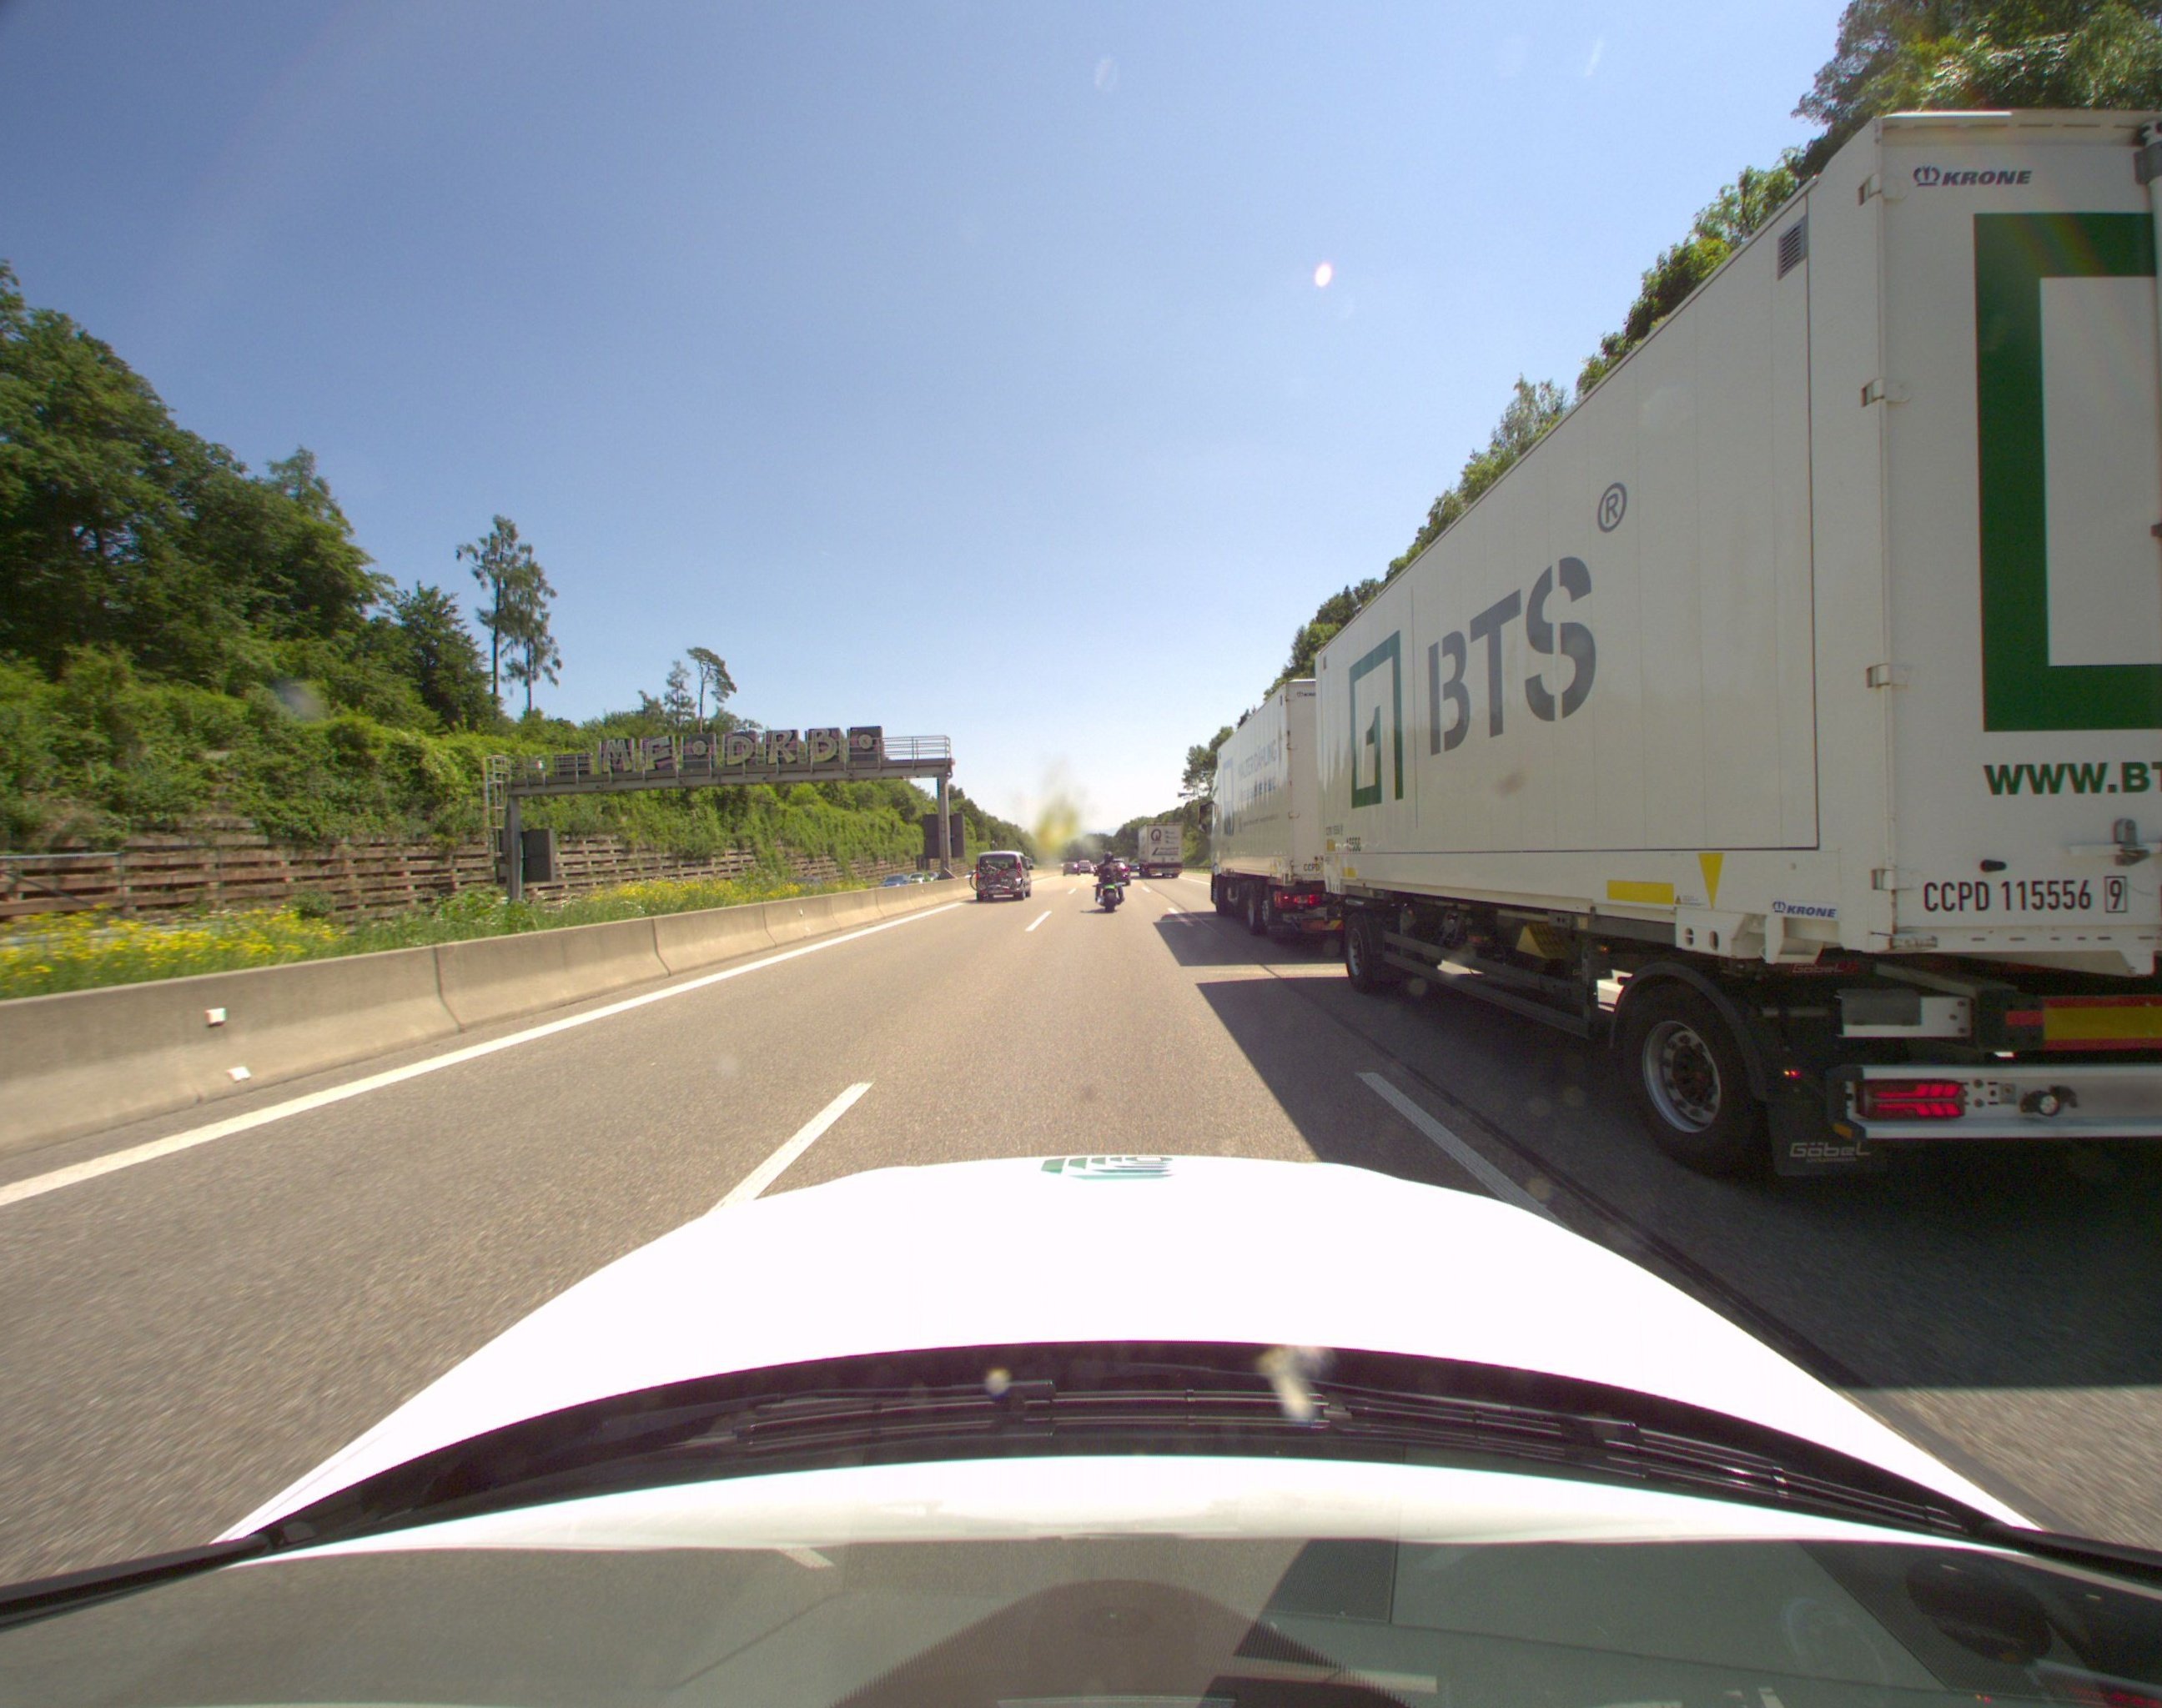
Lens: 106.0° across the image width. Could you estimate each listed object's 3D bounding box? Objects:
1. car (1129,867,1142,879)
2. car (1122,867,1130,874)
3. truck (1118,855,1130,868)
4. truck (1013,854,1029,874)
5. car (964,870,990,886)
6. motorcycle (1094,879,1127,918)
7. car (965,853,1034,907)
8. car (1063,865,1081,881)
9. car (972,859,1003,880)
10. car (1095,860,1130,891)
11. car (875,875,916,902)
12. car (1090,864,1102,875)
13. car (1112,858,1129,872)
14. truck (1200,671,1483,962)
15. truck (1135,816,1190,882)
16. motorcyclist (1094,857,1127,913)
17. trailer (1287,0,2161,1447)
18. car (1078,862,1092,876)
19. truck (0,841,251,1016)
[{"bbox_3d":[8.080,2.810,120.831,1.824,1.527,4.028,-1,0,1],"label":"car"},{"bbox_3d":[10.899,3.963,197.518,1.824,1.527,4.028,-1,0,1],"label":"car"},{"bbox_3d":[11.678,1.958,221.713,3.056,3.346,9.656,0,0,2],"label":"truck"},{"bbox_3d":[-12.436,2.041,168.961,2.670,4.030,5.933,-2,-1,1],"label":"truck"},{"bbox_3d":[-11.509,2.618,90.109,1.954,1.495,5.887,-3,0,1],"label":"car"},{"bbox_3d":[0.843,1.229,22.792,0.859,0.982,2.132,-2,-1,3],"label":"motorcycle"},{"bbox_3d":[-3.004,0.958,31.202,1.891,1.848,5.484,-1,-1,2],"label":"car"},{"bbox_3d":[-0.978,2.073,89.110,1.751,1.544,4.396,-1,0,2],"label":"car"},{"bbox_3d":[-8.571,1.408,75.404,1.990,1.687,5.996,-3,0,1],"label":"car"},{"bbox_3d":[1.727,1.169,45.635,1.838,1.557,4.441,-1,0,2],"label":"car"},{"bbox_3d":[-12.941,2.393,56.958,1.701,1.605,4.200,-3,0,2],"label":"car"},{"bbox_3d":[2.551,2.653,138.270,1.824,1.810,4.121,-1,0,1],"label":"car"},{"bbox_3d":[4.594,1.316,95.052,1.824,1.558,4.121,-1,0,1],"label":"car"},{"bbox_3d":[4.432,-0.499,16.785,2.670,4.059,10.629,-1,0,2],"label":"truck"},{"bbox_3d":[6.378,-0.321,66.813,3.370,4.718,17.715,0,0,2],"label":"truck"},{"bbox_3d":[0.827,0.844,22.688,0.852,1.515,0.914,-1,-1,2],"label":"motorcyclist"},{"bbox_3d":[4.118,-0.609,6.360,2.670,4.176,10.068,-1,0,2],"label":"trailer"},{"bbox_3d":[0.587,2.150,117.608,1.824,1.810,4.121,-1,0,1],"label":"car"},{"bbox_3d":[-19.838,1.344,14.508,2.570,2.992,7.064,-3,0,2],"label":"truck"}]
